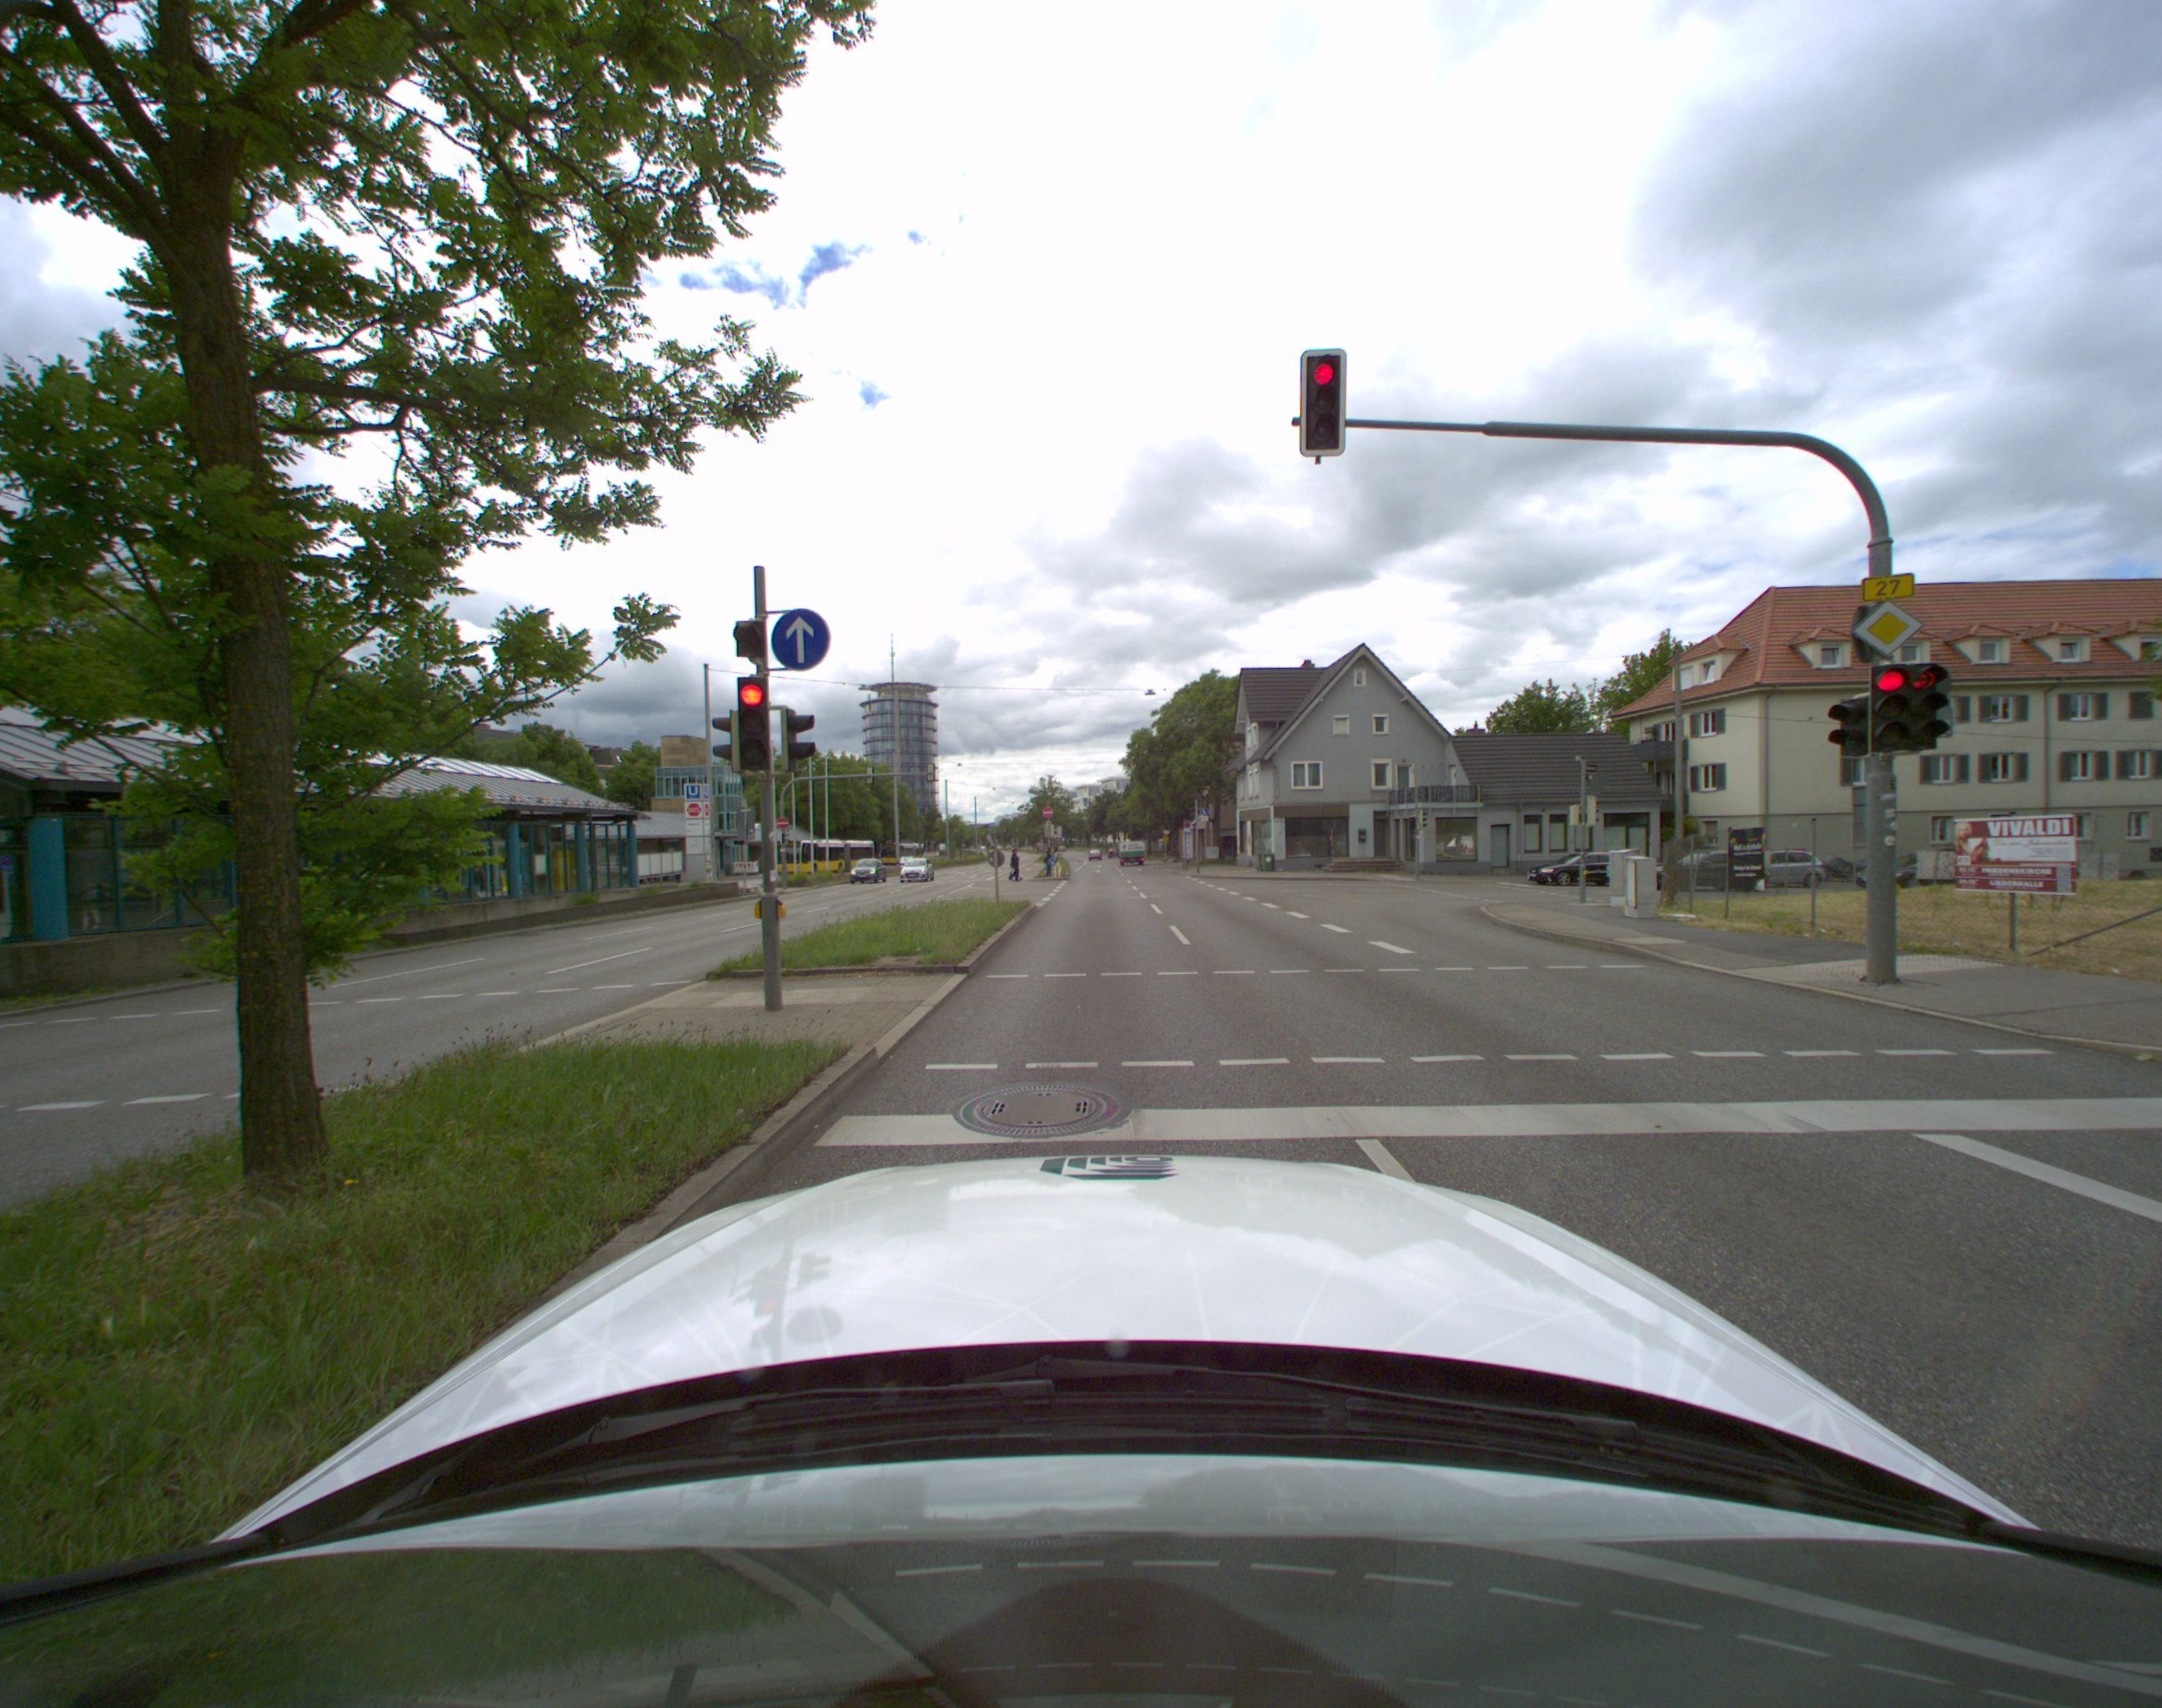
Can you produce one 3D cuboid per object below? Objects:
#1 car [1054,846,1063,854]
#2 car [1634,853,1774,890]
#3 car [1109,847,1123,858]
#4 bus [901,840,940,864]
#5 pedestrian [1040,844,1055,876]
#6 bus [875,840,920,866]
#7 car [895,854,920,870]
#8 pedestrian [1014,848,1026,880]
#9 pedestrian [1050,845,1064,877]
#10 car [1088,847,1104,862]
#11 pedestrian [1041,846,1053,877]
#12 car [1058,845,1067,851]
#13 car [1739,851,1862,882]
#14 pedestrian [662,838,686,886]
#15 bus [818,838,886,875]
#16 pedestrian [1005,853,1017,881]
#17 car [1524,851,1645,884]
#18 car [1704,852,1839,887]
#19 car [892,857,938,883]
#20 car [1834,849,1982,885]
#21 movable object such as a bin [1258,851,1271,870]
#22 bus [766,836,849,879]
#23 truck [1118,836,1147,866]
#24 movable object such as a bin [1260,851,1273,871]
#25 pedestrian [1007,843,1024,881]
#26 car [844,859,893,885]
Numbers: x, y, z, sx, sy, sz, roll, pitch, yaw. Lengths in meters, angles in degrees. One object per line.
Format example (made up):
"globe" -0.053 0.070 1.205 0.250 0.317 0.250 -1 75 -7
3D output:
"car" -4.870 -0.886 176.573 1.988 1.519 3.997 -2 0 -2
"car" 23.945 0.656 31.401 4.075 1.371 1.800 0 0 0
"car" 5.004 -0.251 116.674 1.986 1.552 4.001 0 0 1
"bus" -24.629 -0.302 125.678 2.817 3.430 10.751 -2 0 6
"pedestrian" -1.822 0.337 44.750 0.744 1.716 0.582 -2 0 -6
"bus" -25.707 -0.166 114.954 2.817 3.430 10.751 -2 0 6
"car" -19.410 0.881 91.391 1.800 1.662 4.001 -2 0 1
"pedestrian" -3.422 0.555 45.578 0.611 1.716 0.545 -2 0 -5
"pedestrian" -1.314 0.359 44.201 0.652 1.716 0.451 -2 0 -6
"car" 1.966 0.041 106.449 1.986 1.830 4.001 -1 0 1
"pedestrian" -1.902 0.401 45.462 0.582 1.716 0.545 -2 0 -5
"car" -4.973 -1.525 215.418 1.992 1.552 3.990 -2 0 -7
"car" 32.853 0.562 37.267 4.075 1.371 1.800 0 0 0
"pedestrian" -17.412 0.326 34.860 0.680 2.013 0.645 -2 0 -3
"bus" -23.265 0.234 83.406 2.817 3.430 10.751 -2 0 6
"pedestrian" -3.852 0.698 44.671 0.543 1.496 0.485 -2 0 -10
"car" 21.365 0.561 34.678 4.075 1.371 1.800 0 0 0
"car" 28.451 0.613 33.636 4.075 1.371 1.800 0 0 0
"car" -10.416 0.964 51.368 1.987 1.486 4.000 -2 0 0
"car" 32.589 0.489 32.179 4.075 1.371 1.800 0 0 0
"movable object such as a bin" 10.023 0.359 44.464 0.613 1.043 0.590 0 0 3
"bus" -24.298 0.267 73.146 2.817 3.430 10.751 -2 0 6
"truck" 4.682 -0.369 74.218 2.460 2.611 6.554 0 1 3
"movable object such as a bin" 10.000 0.354 43.826 0.602 1.059 0.590 0 0 3
"pedestrian" -3.539 0.424 43.945 0.829 2.013 0.545 -2 0 -6
"car" -13.456 1.088 51.772 1.987 1.486 4.000 -2 0 0
